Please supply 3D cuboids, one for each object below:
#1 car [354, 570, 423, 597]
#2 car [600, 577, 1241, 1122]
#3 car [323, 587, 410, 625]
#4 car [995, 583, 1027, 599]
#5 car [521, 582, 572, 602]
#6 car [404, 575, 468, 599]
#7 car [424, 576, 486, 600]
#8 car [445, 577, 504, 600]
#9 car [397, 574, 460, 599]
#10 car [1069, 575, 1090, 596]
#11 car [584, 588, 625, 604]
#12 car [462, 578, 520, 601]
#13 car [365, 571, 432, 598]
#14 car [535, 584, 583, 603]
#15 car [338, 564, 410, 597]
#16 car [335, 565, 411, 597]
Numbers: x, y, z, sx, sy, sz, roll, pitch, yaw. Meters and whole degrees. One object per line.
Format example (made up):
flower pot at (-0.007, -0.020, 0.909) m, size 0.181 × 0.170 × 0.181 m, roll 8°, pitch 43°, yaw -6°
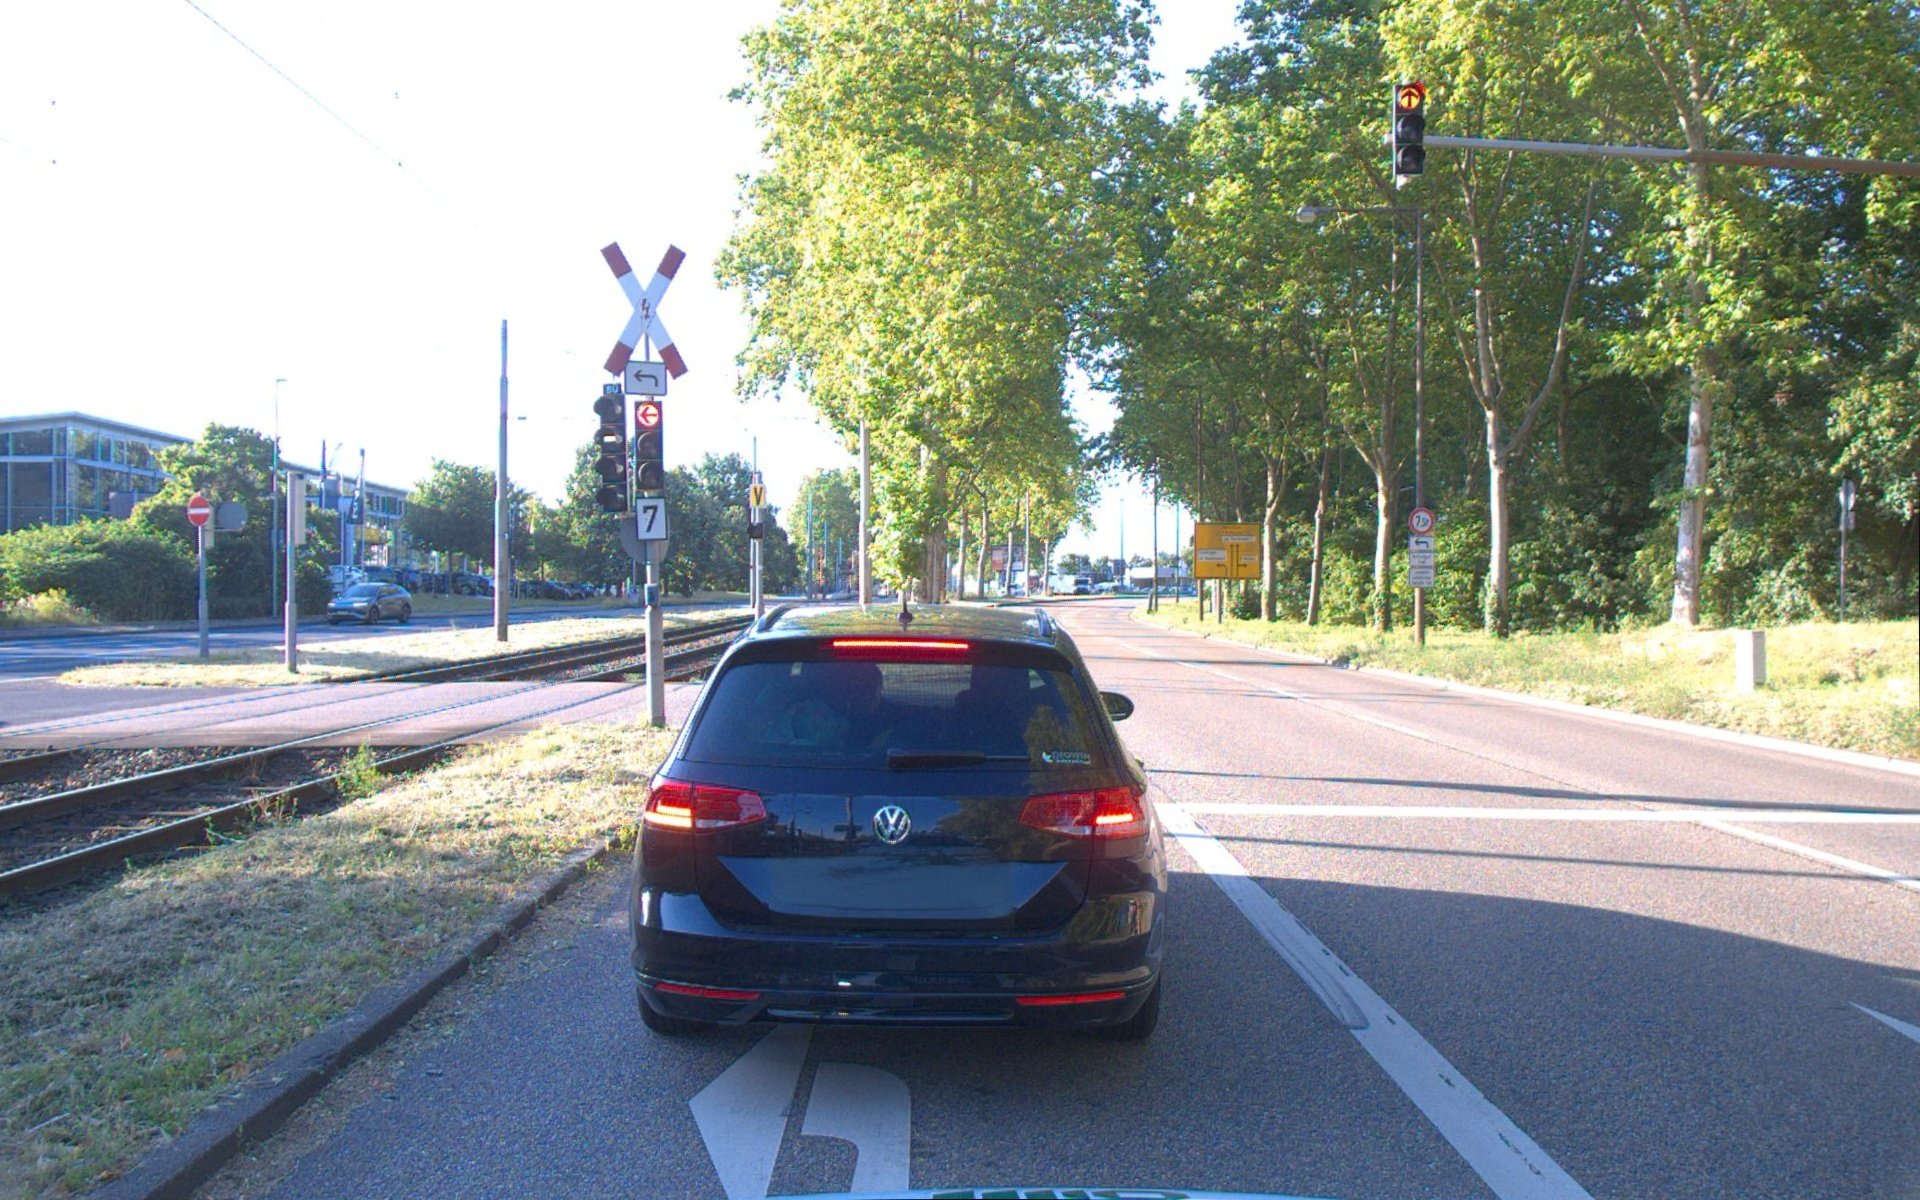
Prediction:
car at (-35.207, -1.000, 101.929) m, size 3.930 × 1.583 × 1.732 m, roll 1°, pitch 0°, yaw -22°
car at (-0.141, 0.693, 6.390) m, size 1.758 × 1.490 × 3.582 m, roll 1°, pitch 0°, yaw -1°
car at (-24.636, 0.227, 68.843) m, size 1.823 × 1.507 × 4.174 m, roll 1°, pitch 1°, yaw 5°
car at (5.110, -0.874, 164.640) m, size 1.824 × 1.507 × 4.091 m, roll 1°, pitch 1°, yaw 22°
car at (-34.558, -0.648, 138.225) m, size 3.909 × 1.649 × 1.742 m, roll 1°, pitch 0°, yaw -6°
car at (-36.045, -0.889, 113.798) m, size 3.913 × 1.583 × 1.740 m, roll 1°, pitch 0°, yaw -9°
car at (-35.784, -0.850, 117.321) m, size 3.911 × 1.583 × 1.741 m, roll 1°, pitch 0°, yaw -7°
car at (-35.577, -0.834, 121.252) m, size 3.909 × 1.649 × 1.742 m, roll 1°, pitch 0°, yaw -6°
car at (-35.713, -0.909, 111.103) m, size 3.930 × 1.583 × 1.732 m, roll 1°, pitch 0°, yaw -22°
car at (14.273, -1.742, 198.083) m, size 2.052 × 2.504 × 5.853 m, roll 1°, pitch 1°, yaw 0°
car at (-35.972, -0.372, 167.432) m, size 3.909 × 1.583 × 1.742 m, roll 1°, pitch 0°, yaw -5°
car at (-35.247, -0.793, 124.468) m, size 3.909 × 1.649 × 1.742 m, roll 1°, pitch 0°, yaw -6°
car at (-35.548, -0.974, 104.708) m, size 3.930 × 1.583 × 1.732 m, roll 1°, pitch 0°, yaw -22°
car at (-35.227, -0.591, 145.371) m, size 3.909 × 1.649 × 1.742 m, roll 1°, pitch 0°, yaw -6°
car at (-34.447, -1.138, 97.277) m, size 3.930 × 1.848 × 1.732 m, roll 1°, pitch 0°, yaw -22°
car at (-32.915, -1.064, 92.713) m, size 3.930 × 1.734 × 1.732 m, roll 1°, pitch 0°, yaw -22°
